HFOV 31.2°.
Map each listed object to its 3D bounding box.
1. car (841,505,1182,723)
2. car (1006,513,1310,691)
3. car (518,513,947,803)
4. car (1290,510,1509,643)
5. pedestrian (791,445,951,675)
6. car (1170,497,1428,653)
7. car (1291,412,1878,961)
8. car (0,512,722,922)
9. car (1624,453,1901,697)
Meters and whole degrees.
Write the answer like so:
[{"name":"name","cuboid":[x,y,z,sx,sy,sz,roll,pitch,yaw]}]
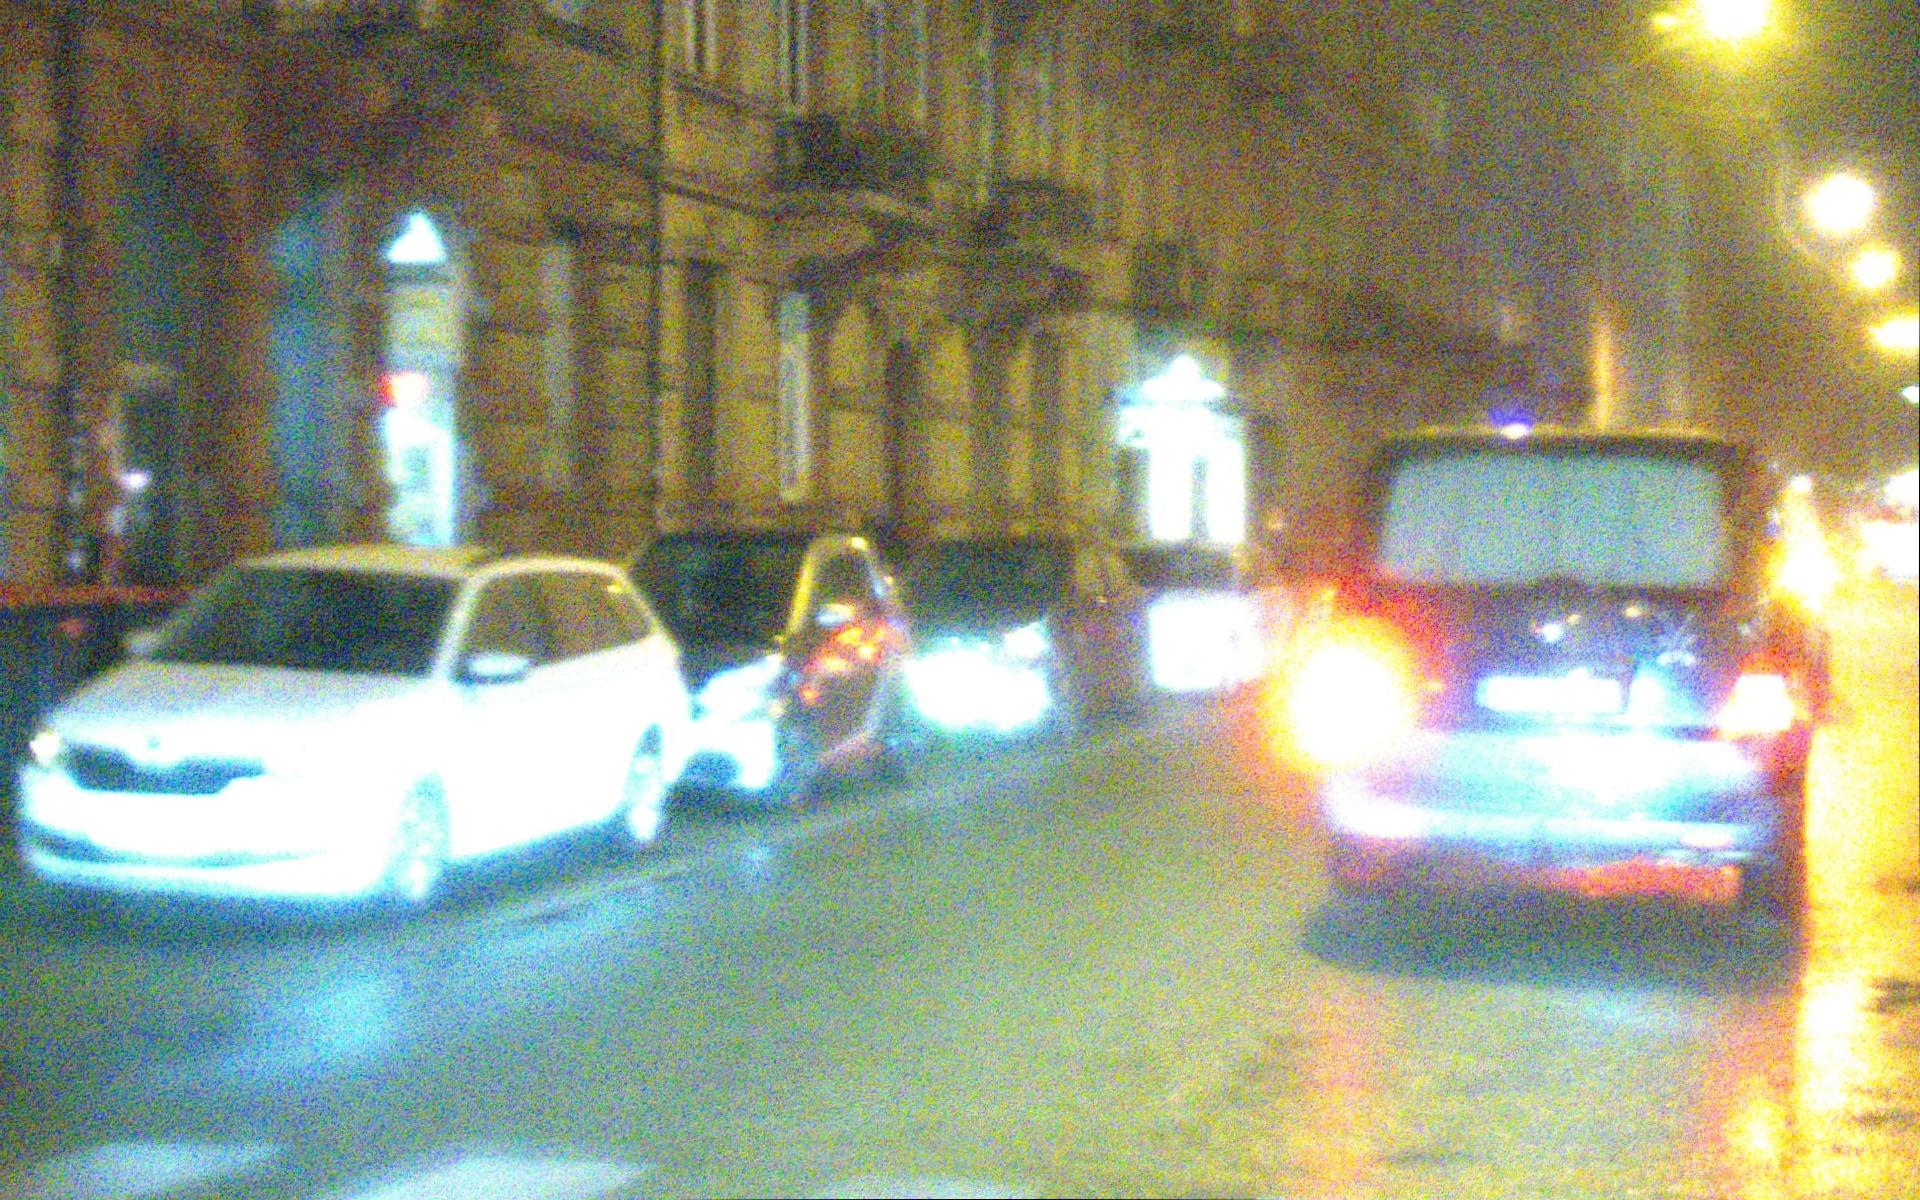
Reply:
[{"name":"car","cuboid":[0.447,0.040,25.182,1.587,1.444,3.500,1,2,17]},{"name":"car","cuboid":[1.821,-0.042,30.236,1.691,1.396,4.313,1,2,17]},{"name":"car","cuboid":[-1.249,0.271,19.849,1.587,1.504,2.785,1,2,17]},{"name":"car","cuboid":[5.265,-0.315,40.821,1.995,1.444,3.997,2,2,15]},{"name":"pedestrian","cuboid":[-0.737,-0.345,28.738,1.032,1.858,0.976,2,2,16]},{"name":"car","cuboid":[3.637,-0.319,36.147,1.755,1.444,4.619,3,3,17]},{"name":"car","cuboid":[2.864,0.234,14.921,2.124,1.984,4.598,1,2,15]},{"name":"car","cuboid":[-2.547,0.395,15.311,1.587,1.458,4.021,3,3,17]},{"name":"car","cuboid":[6.946,-0.286,29.807,2.124,1.915,4.823,1,2,13]}]
